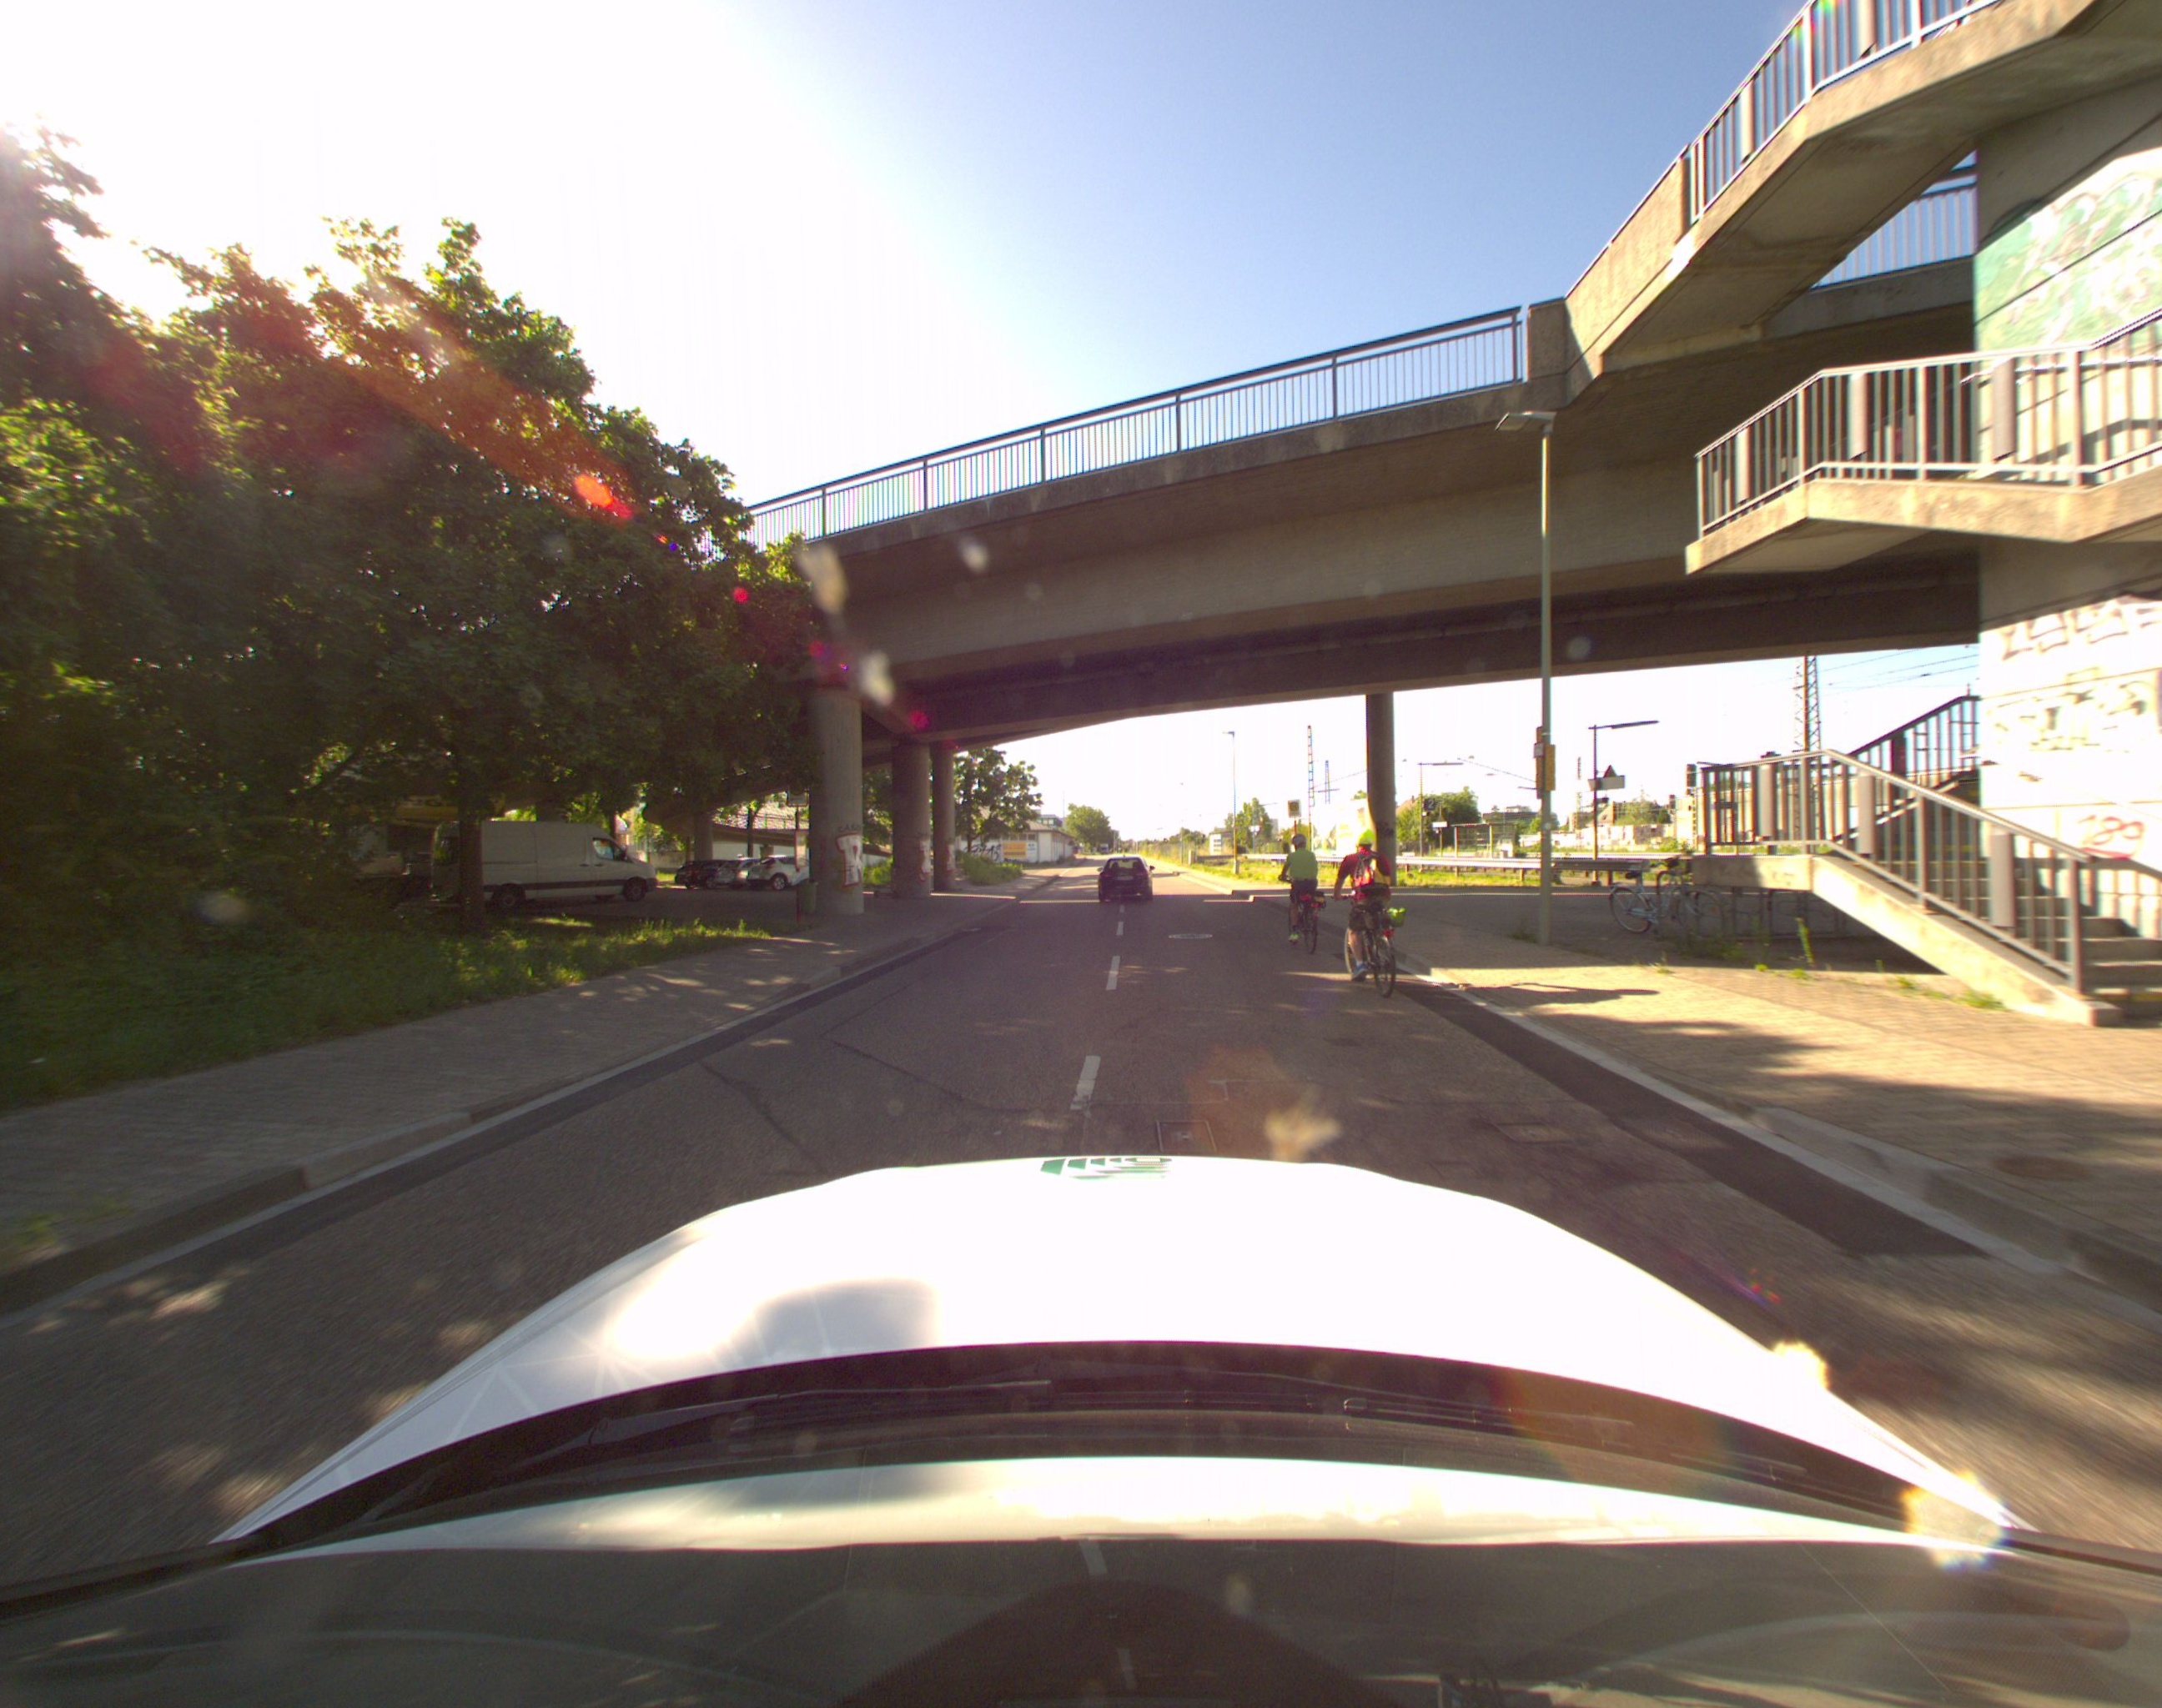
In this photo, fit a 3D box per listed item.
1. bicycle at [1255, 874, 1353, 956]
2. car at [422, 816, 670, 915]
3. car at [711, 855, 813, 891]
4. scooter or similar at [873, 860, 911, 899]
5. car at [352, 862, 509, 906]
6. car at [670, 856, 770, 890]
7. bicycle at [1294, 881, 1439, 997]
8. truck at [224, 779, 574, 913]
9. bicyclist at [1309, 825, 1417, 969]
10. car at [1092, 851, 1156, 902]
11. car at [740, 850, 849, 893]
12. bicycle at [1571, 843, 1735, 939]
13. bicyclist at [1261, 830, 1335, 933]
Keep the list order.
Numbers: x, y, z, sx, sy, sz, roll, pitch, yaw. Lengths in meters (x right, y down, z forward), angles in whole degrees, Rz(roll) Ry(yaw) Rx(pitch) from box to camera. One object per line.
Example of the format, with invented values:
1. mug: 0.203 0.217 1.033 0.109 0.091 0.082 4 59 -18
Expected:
1. bicycle: 3.305 0.861 12.305 0.838 1.051 2.189 -1 0 -1
2. car: -16.139 0.240 25.049 1.922 2.681 6.048 -1 1 31
3. car: -15.017 0.881 38.533 1.662 1.552 4.326 -1 0 32
4. scooter or similar: -6.464 0.855 27.825 1.292 1.300 0.582 -1 0 42
5. car: -24.157 1.066 30.397 1.718 1.442 4.278 -1 0 36
6. car: -17.885 0.905 40.500 1.662 1.552 4.326 -1 0 32
7. bicycle: 3.106 0.876 9.137 0.838 1.051 2.189 -1 0 0
8. truck: -20.800 -0.237 25.469 2.450 3.551 8.019 -1 0 37
9. bicyclist: 3.096 0.450 9.024 0.838 1.488 0.923 -1 0 -1
10. car: 1.472 0.700 27.464 1.934 1.488 4.570 -2 0 3
11. car: -12.930 0.767 36.998 1.845 1.642 4.310 -5 -1 36
12. bicycle: 7.758 0.461 11.197 0.596 1.182 2.178 -2 0 -3
13. bicyclist: 3.280 0.402 12.388 0.838 1.488 0.923 -1 0 -1
